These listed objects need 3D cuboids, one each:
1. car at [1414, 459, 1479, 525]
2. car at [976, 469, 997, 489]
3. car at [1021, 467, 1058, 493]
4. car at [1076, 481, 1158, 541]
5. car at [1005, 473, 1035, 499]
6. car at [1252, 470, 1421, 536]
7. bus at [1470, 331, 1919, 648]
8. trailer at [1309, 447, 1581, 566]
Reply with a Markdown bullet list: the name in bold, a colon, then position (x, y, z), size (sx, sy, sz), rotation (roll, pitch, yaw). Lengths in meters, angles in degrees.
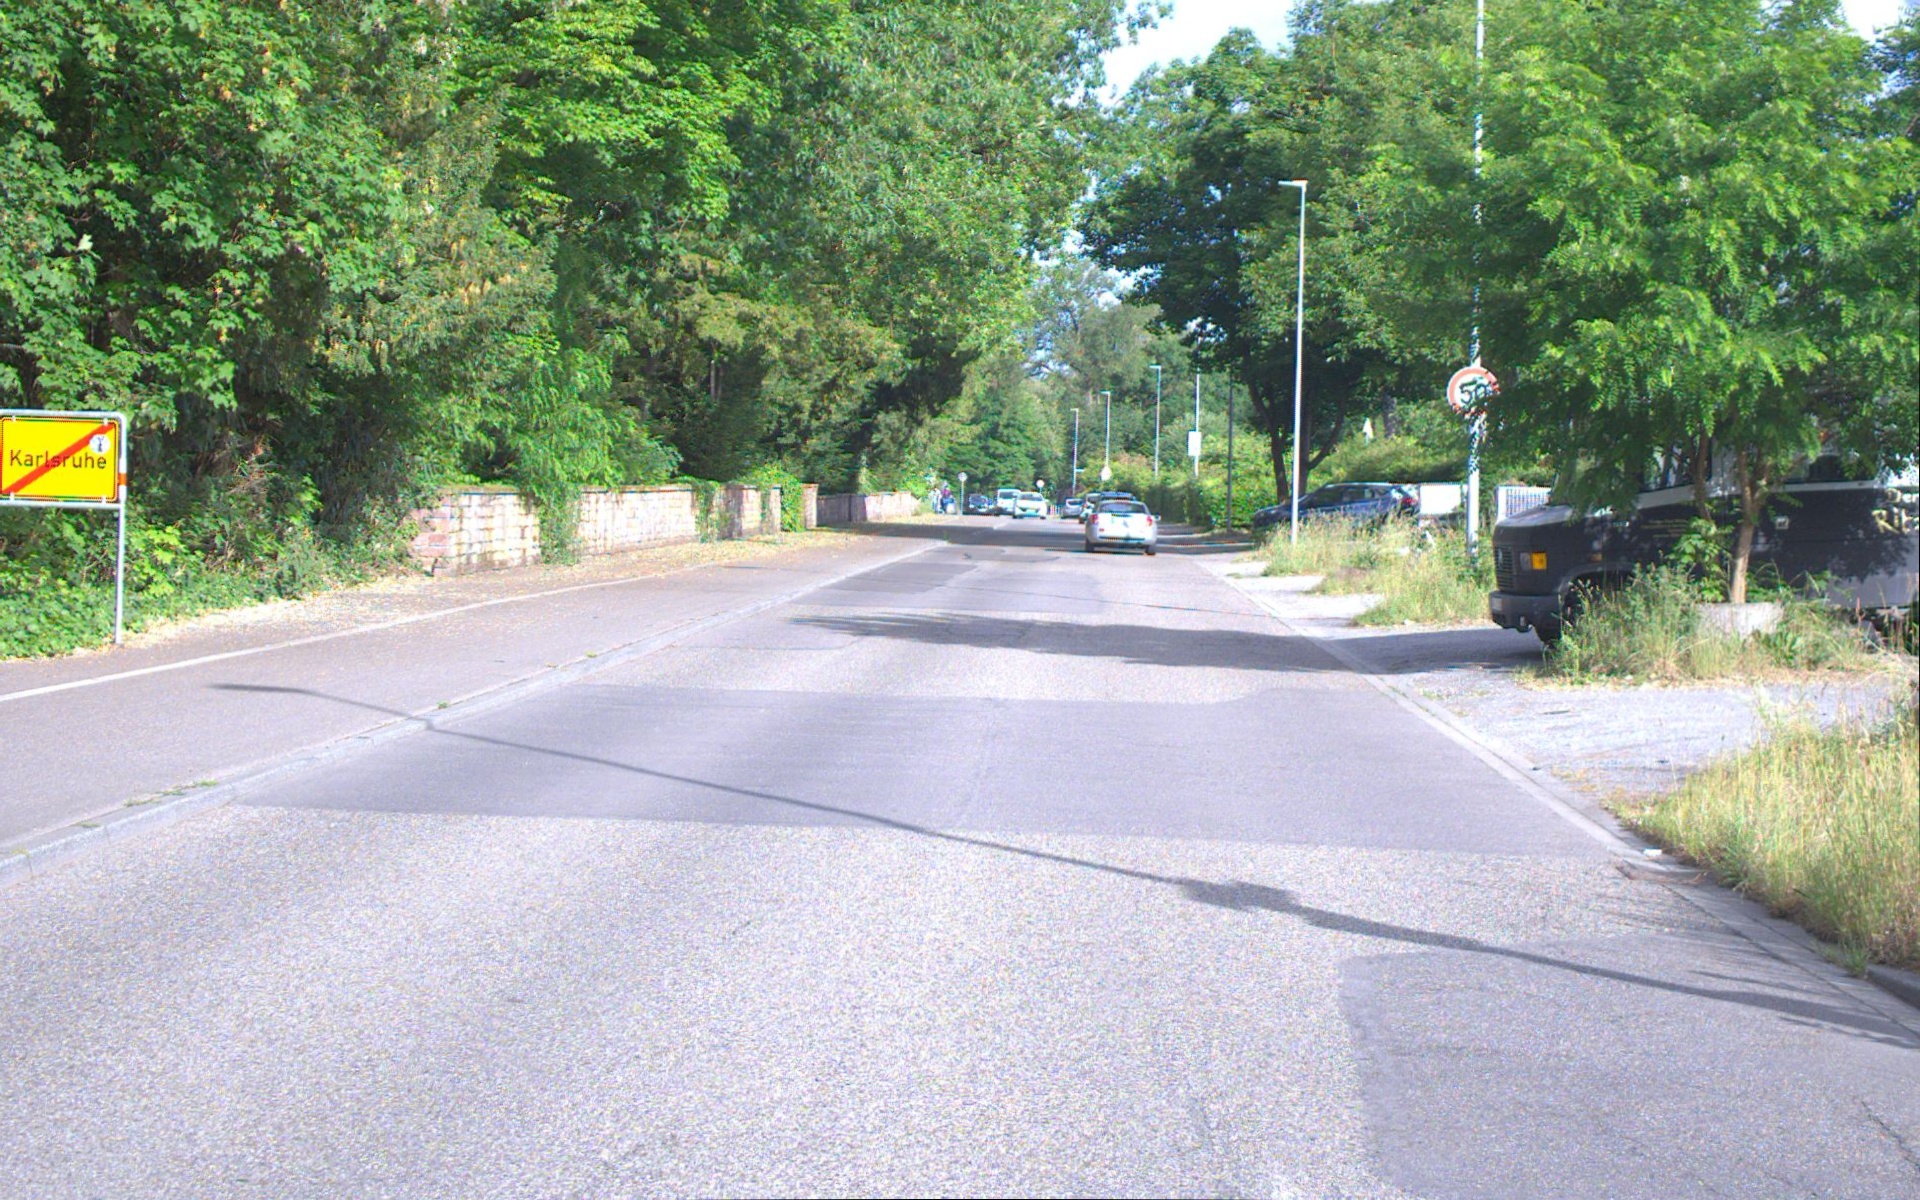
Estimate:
- **car**: position (12.786, -2.852, 90.263), size (1.351, 1.627, 4.110), rotation (-1, 2, 13)
- **car**: position (1.985, -9.168, 259.930), size (1.577, 1.447, 3.399), rotation (1, 3, 1)
- **car**: position (4.337, -6.532, 187.255), size (1.886, 1.367, 4.055), rotation (1, 2, 0)
- **car**: position (3.806, -2.180, 83.782), size (1.886, 1.367, 4.055), rotation (1, 2, 1)
- **car**: position (3.803, -7.220, 217.481), size (1.886, 1.607, 4.055), rotation (1, 2, 1)
- **car**: position (10.090, -2.614, 92.376), size (4.403, 1.641, 2.000), rotation (-1, 2, 3)
- **bus**: position (7.410, -1.009, 30.716), size (5.365, 2.737, 2.069), rotation (0, 3, 0)
- **trailer**: position (7.596, -1.482, 54.134), size (4.153, 1.828, 1.916), rotation (0, 2, 7)
